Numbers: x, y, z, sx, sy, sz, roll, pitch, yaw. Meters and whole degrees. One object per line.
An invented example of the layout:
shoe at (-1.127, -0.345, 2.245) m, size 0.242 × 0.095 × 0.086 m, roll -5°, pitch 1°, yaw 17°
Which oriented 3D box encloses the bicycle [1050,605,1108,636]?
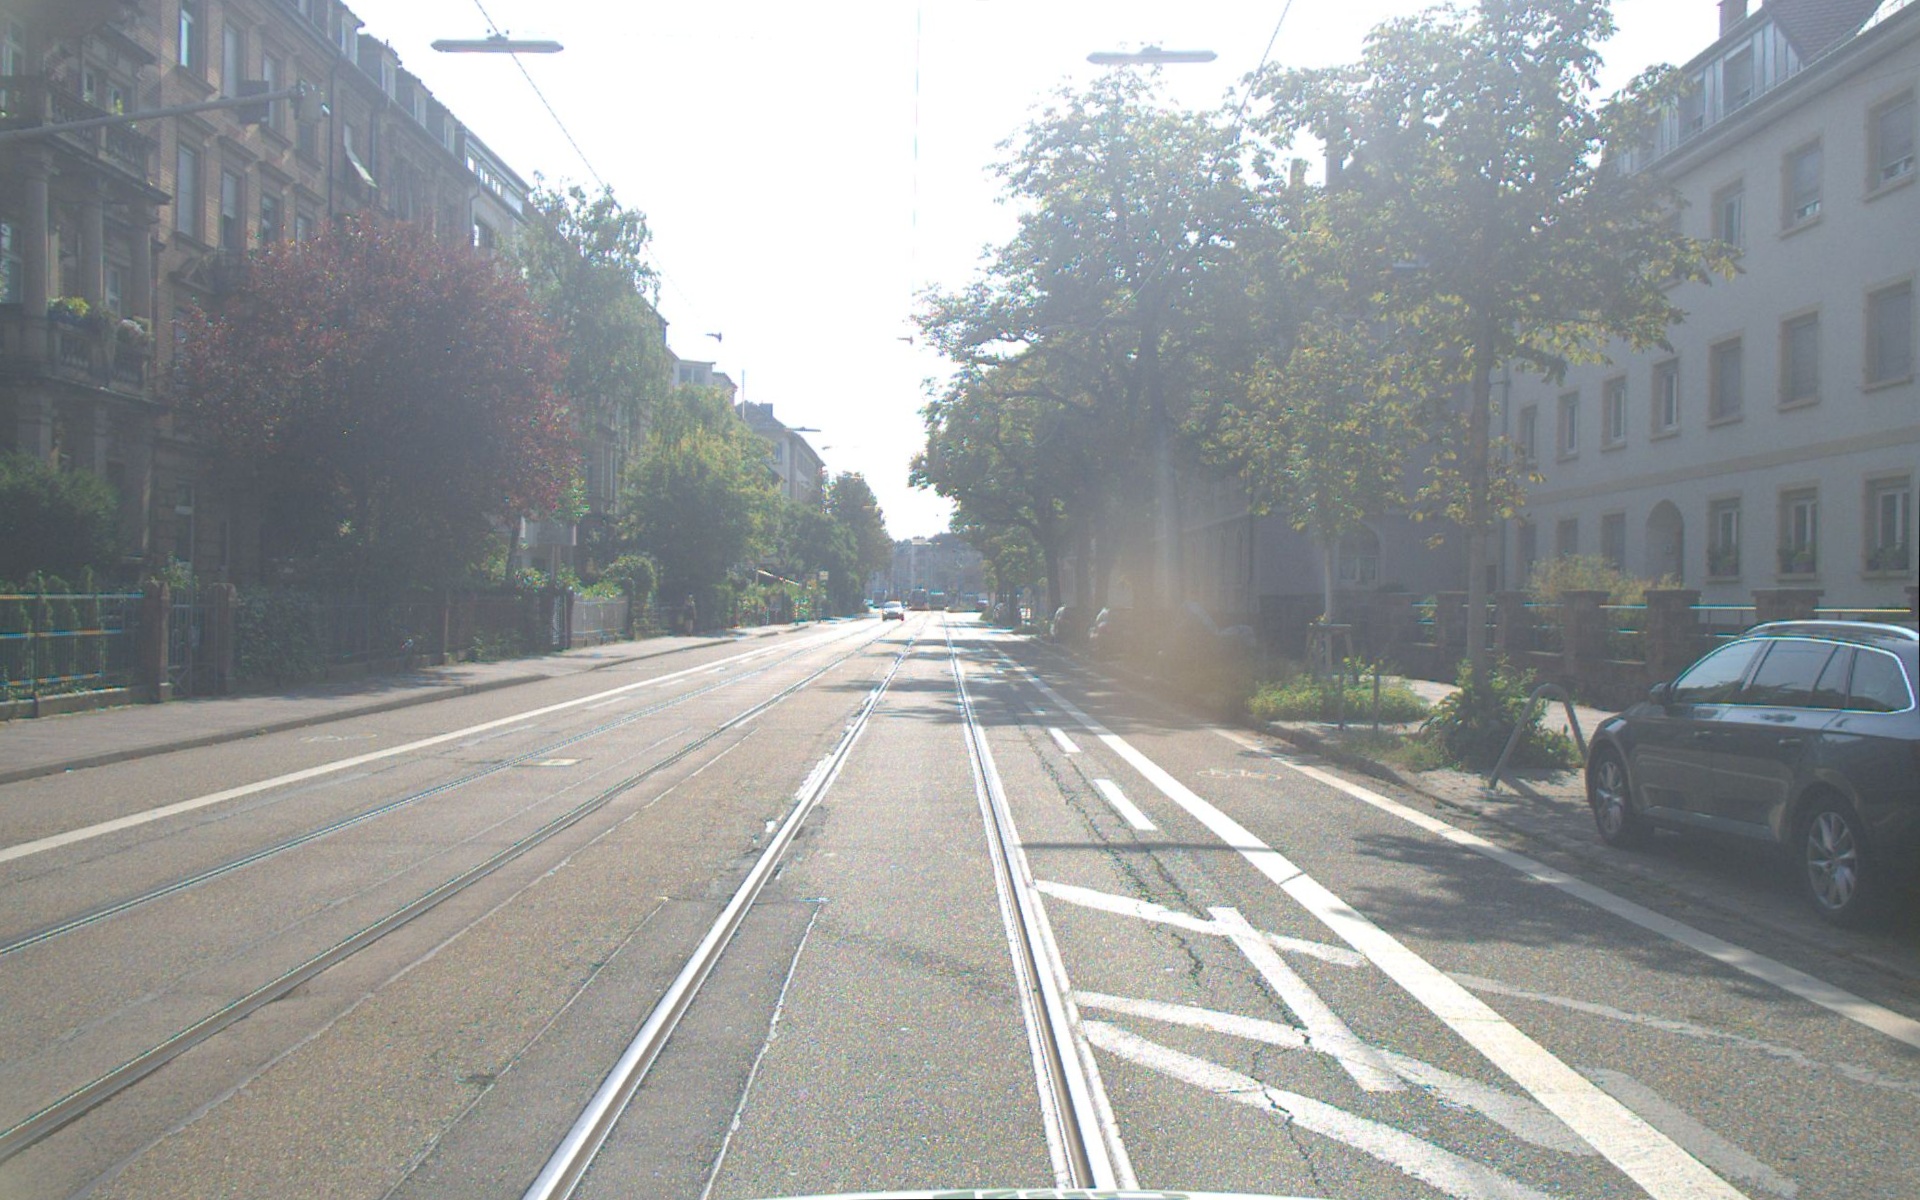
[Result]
bicycle at (4.414, 0.747, 61.156) m, size 2.067 × 1.125 × 0.562 m, roll 0°, pitch 0°, yaw -8°

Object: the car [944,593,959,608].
car at (-1.261, 0.062, 240.964) m, size 1.952 × 2.049 × 4.001 m, roll 2°, pitch 0°, yaw 2°

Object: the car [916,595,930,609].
car at (-5.822, 0.291, 259.173) m, size 1.952 × 2.049 × 4.001 m, roll 2°, pitch 0°, yaw 2°

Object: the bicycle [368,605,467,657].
bicycle at (-11.967, 0.691, 36.545) m, size 1.976 × 1.123 × 0.588 m, roll 0°, pitch 0°, yaw -4°

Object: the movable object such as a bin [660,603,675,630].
movable object such as a bin at (-12.185, 0.674, 68.881) m, size 0.578 × 1.097 × 0.704 m, roll 0°, pitch 0°, yaw -7°

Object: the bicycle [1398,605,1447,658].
bicycle at (10.126, 0.675, 36.257) m, size 0.416 × 1.123 × 1.999 m, roll 0°, pitch 0°, yaw -3°

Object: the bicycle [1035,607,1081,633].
bicycle at (4.456, 0.907, 75.307) m, size 2.064 × 1.125 × 0.616 m, roll -1°, pitch 0°, yaw -2°

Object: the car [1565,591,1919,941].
car at (5.192, 0.751, 9.470) m, size 1.708 × 1.588 × 4.718 m, roll 0°, pitch 0°, yaw 0°

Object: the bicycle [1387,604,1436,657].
bicycle at (9.898, 0.654, 36.281) m, size 0.416 × 1.123 × 1.999 m, roll 0°, pitch 0°, yaw -3°

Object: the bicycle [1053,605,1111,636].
bicycle at (4.479, 0.761, 60.633) m, size 2.067 × 1.125 × 0.562 m, roll 0°, pitch 0°, yaw -8°

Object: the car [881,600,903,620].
car at (-5.529, 0.801, 135.559) m, size 1.691 × 1.666 × 3.984 m, roll 0°, pitch 0°, yaw -1°

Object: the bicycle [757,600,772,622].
bicycle at (-11.298, 0.610, 95.633) m, size 0.549 × 1.242 × 2.114 m, roll 0°, pitch 0°, yaw 1°

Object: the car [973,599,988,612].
car at (3.072, 0.825, 248.782) m, size 1.952 × 1.814 × 4.002 m, roll 2°, pitch 0°, yaw 4°

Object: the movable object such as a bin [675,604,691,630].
movable object such as a bin at (-11.530, 0.698, 68.964) m, size 0.619 × 1.097 × 0.704 m, roll 0°, pitch 0°, yaw -7°

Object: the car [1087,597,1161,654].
car at (4.696, 0.719, 47.808) m, size 1.691 × 1.531 × 3.984 m, roll -1°, pitch 0°, yaw -1°

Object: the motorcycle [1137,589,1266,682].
motorcycle at (4.652, 0.672, 31.978) m, size 2.378 × 1.703 × 0.908 m, roll -1°, pitch 0°, yaw 44°

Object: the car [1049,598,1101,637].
car at (4.489, 0.692, 64.831) m, size 1.735 × 1.499 × 3.973 m, roll 0°, pitch -1°, yaw 0°

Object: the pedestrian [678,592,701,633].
pedestrian at (-10.660, 0.493, 65.266) m, size 0.737 × 1.619 × 0.878 m, roll 0°, pitch 0°, yaw 0°

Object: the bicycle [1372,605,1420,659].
bicycle at (9.551, 0.684, 36.298) m, size 0.414 × 1.123 × 1.999 m, roll 0°, pitch 0°, yaw -3°
